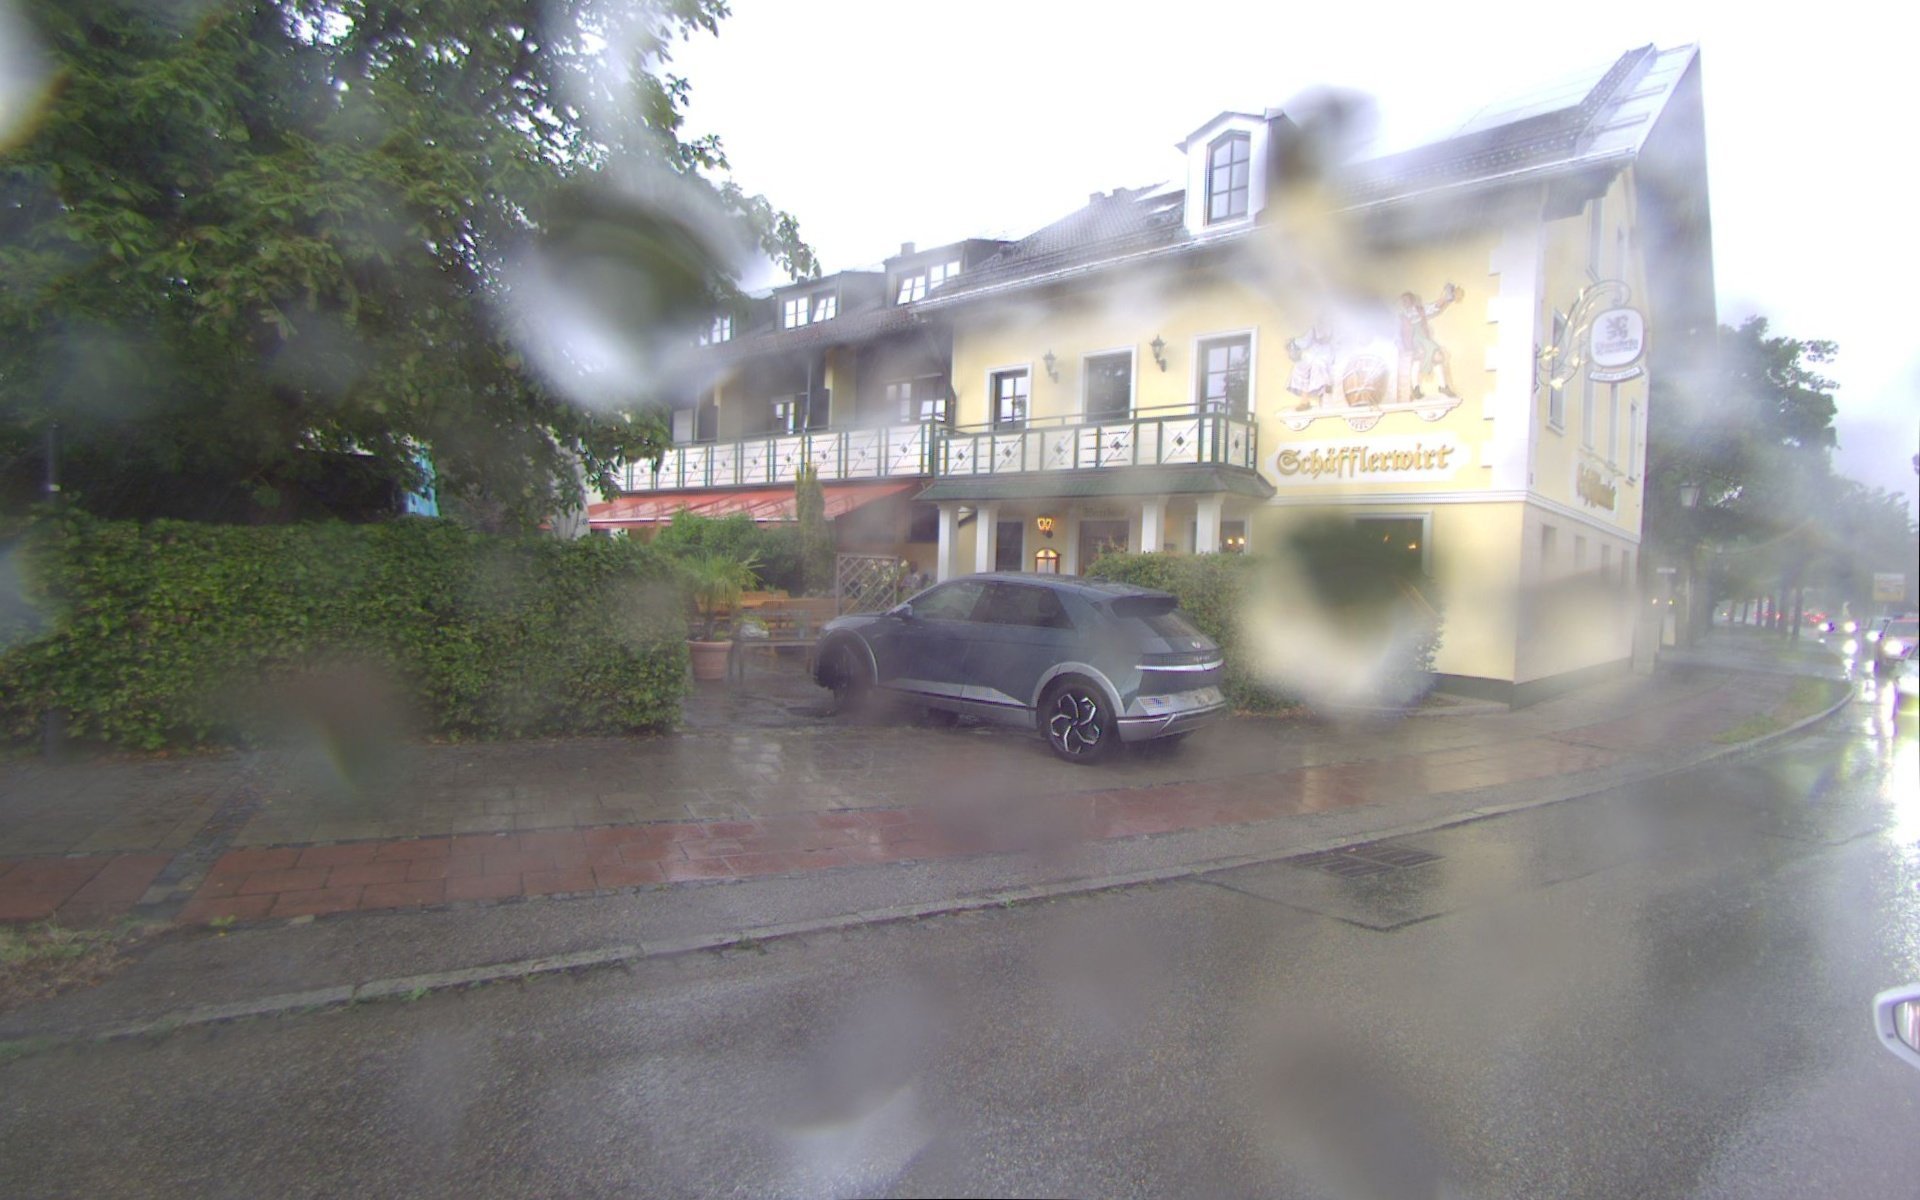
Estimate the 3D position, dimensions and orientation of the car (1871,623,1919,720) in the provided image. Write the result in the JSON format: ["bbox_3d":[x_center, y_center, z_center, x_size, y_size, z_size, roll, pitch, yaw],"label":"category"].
[{"bbox_3d":[16.057,1.095,16.191,1.840,1.377,4.462,0,0,40],"label":"car"}]

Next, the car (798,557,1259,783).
[{"bbox_3d":[0.529,0.488,10.263,4.421,1.589,1.830,6,6,39],"label":"car"}]

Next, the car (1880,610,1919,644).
[{"bbox_3d":[57.864,1.623,61.351,2.144,1.925,4.989,3,2,40],"label":"car"}]

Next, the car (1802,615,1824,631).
[{"bbox_3d":[96.790,2.604,114.010,1.841,1.781,4.460,-2,-2,41],"label":"car"}]

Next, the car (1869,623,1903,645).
[{"bbox_3d":[90.460,3.287,98.133,2.144,1.925,4.989,3,2,40],"label":"car"}]

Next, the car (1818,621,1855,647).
[{"bbox_3d":[61.170,2.377,70.127,1.841,1.781,4.460,-2,-2,41],"label":"car"}]

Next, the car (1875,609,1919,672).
[{"bbox_3d":[28.684,1.182,30.057,1.842,1.781,4.459,-2,-2,42],"label":"car"}]

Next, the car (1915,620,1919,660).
[{"bbox_3d":[48.991,2.066,49.683,2.144,1.925,4.989,3,2,40],"label":"car"}]
